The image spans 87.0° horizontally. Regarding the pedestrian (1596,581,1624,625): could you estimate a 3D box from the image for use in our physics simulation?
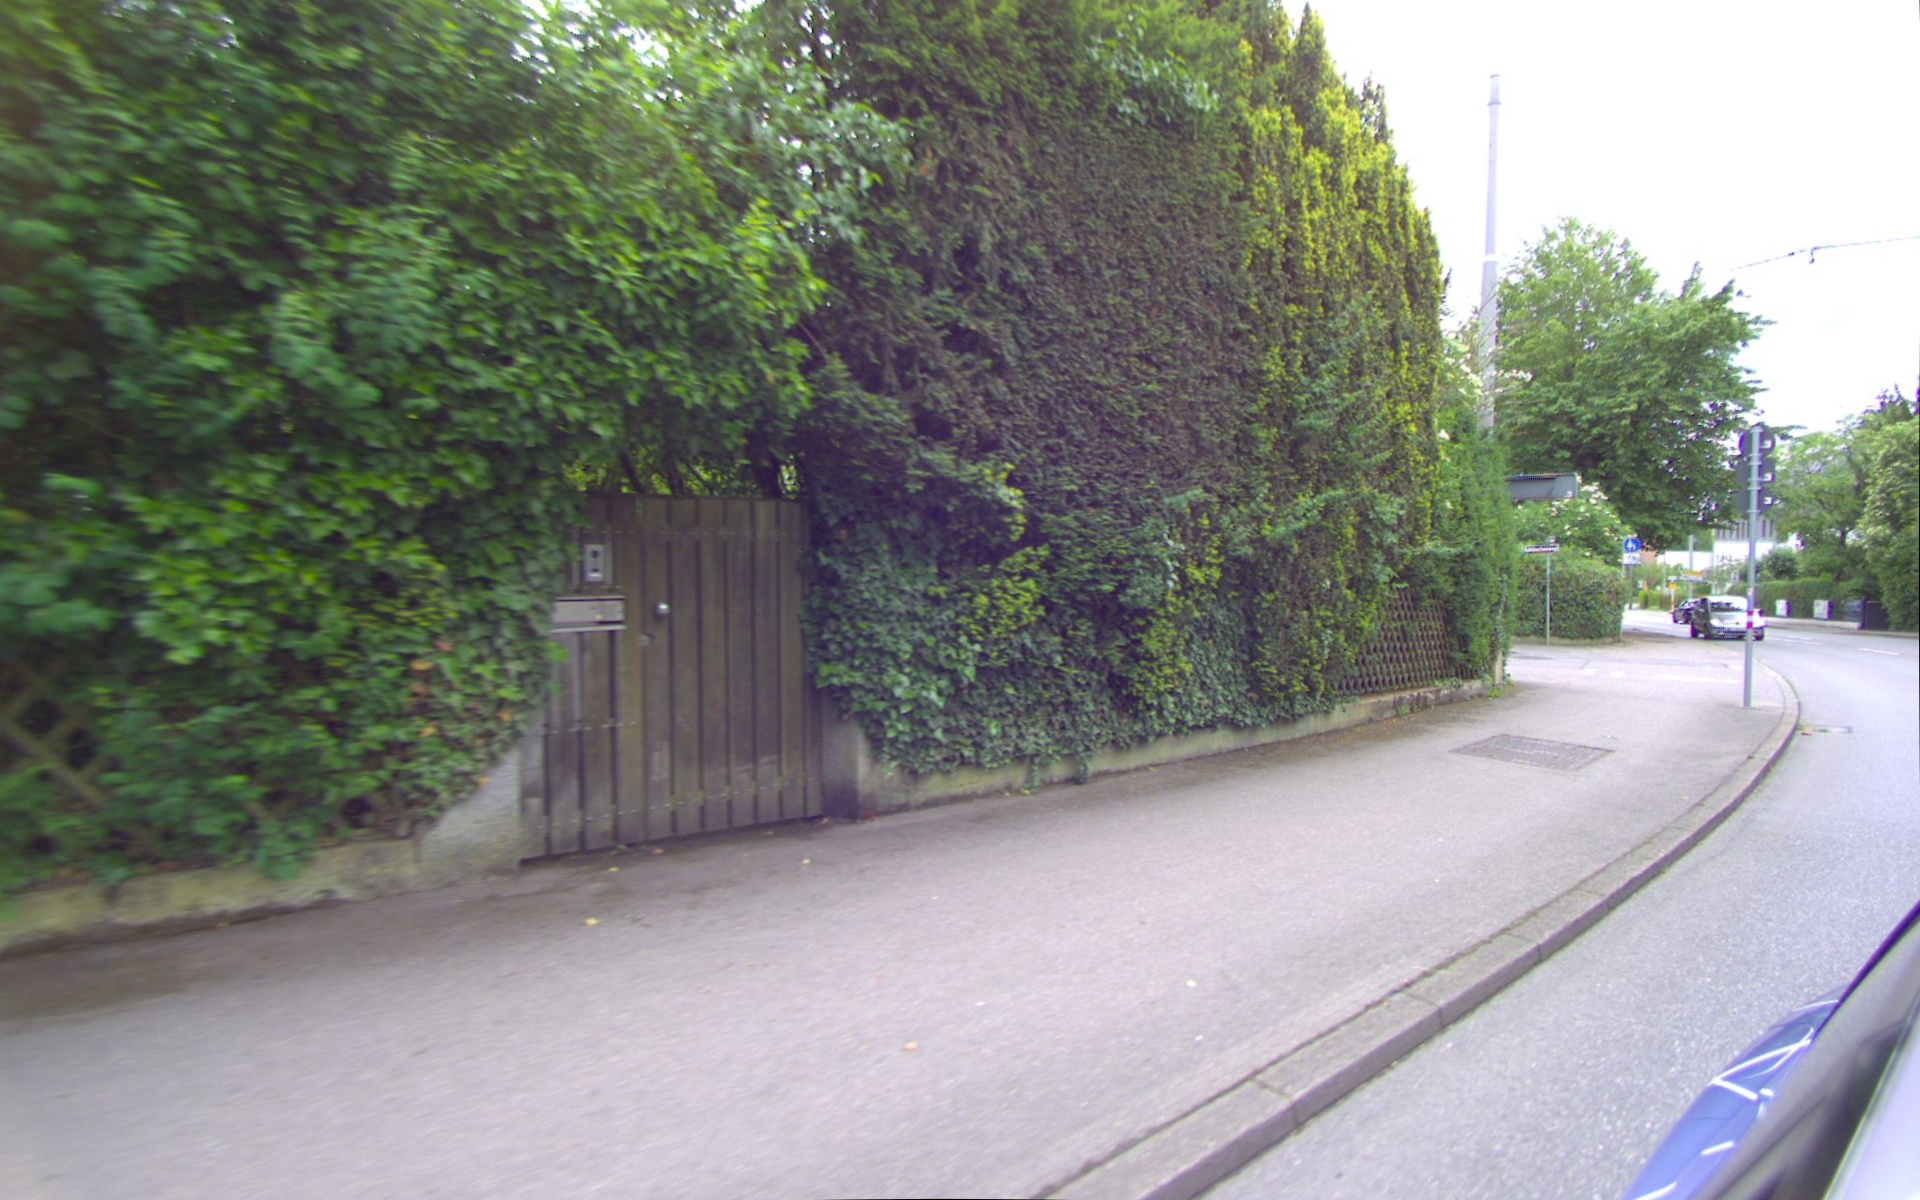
[{"bbox_3d":[27.513,0.131,42.832,0.676,1.830,0.675,1,1,-17],"label":"pedestrian"}]

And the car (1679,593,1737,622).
[{"bbox_3d":[42.364,0.390,57.417,1.743,1.457,4.061,-2,1,24],"label":"car"}]

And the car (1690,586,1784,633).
[{"bbox_3d":[28.572,0.312,37.356,1.980,1.616,3.964,1,1,26],"label":"car"}]
